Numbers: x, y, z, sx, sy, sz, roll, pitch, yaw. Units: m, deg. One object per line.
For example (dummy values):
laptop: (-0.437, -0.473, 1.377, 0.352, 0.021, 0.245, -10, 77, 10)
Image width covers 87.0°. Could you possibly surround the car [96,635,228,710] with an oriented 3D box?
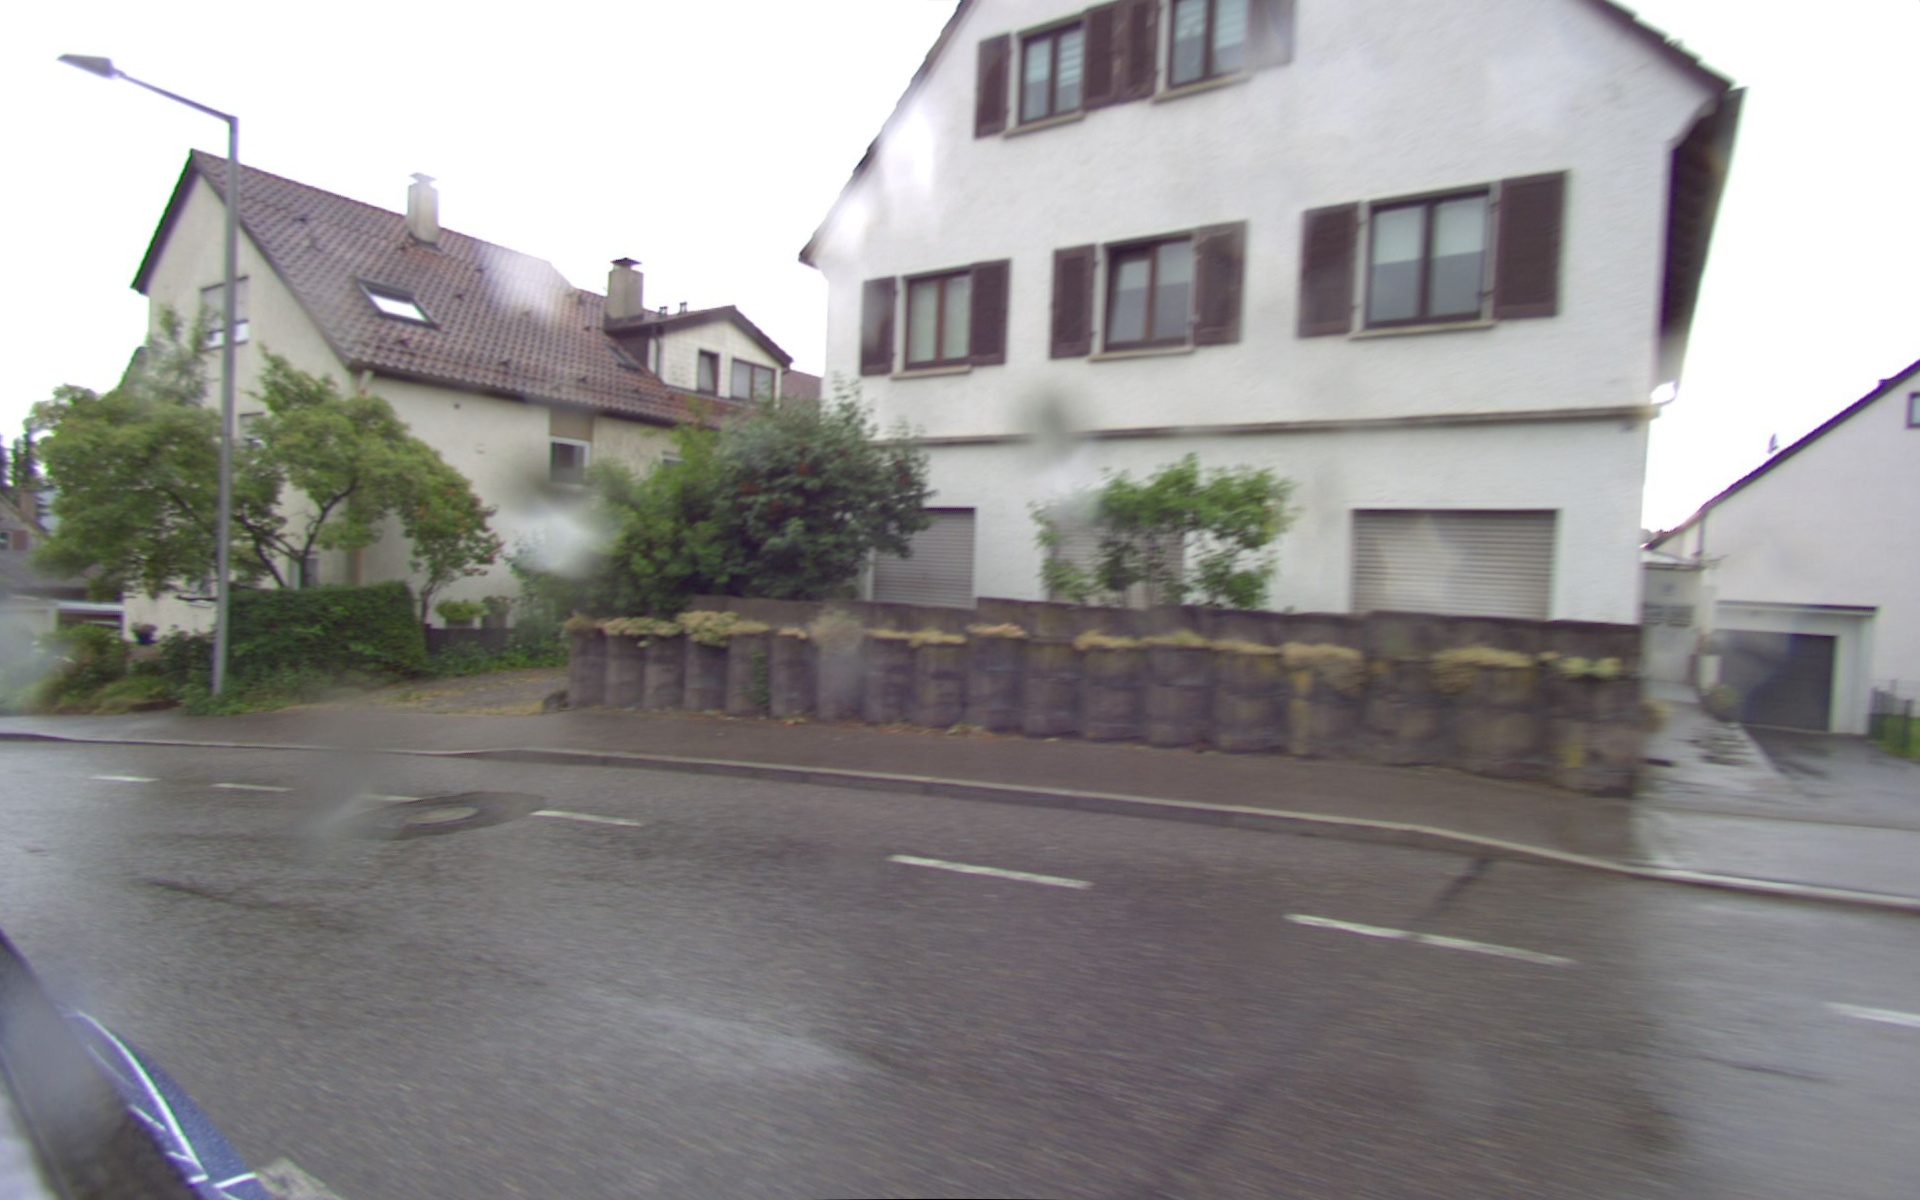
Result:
car: (-24.961, 2.197, 31.622, 4.097, 2.017, 1.952, 1, -1, 33)
